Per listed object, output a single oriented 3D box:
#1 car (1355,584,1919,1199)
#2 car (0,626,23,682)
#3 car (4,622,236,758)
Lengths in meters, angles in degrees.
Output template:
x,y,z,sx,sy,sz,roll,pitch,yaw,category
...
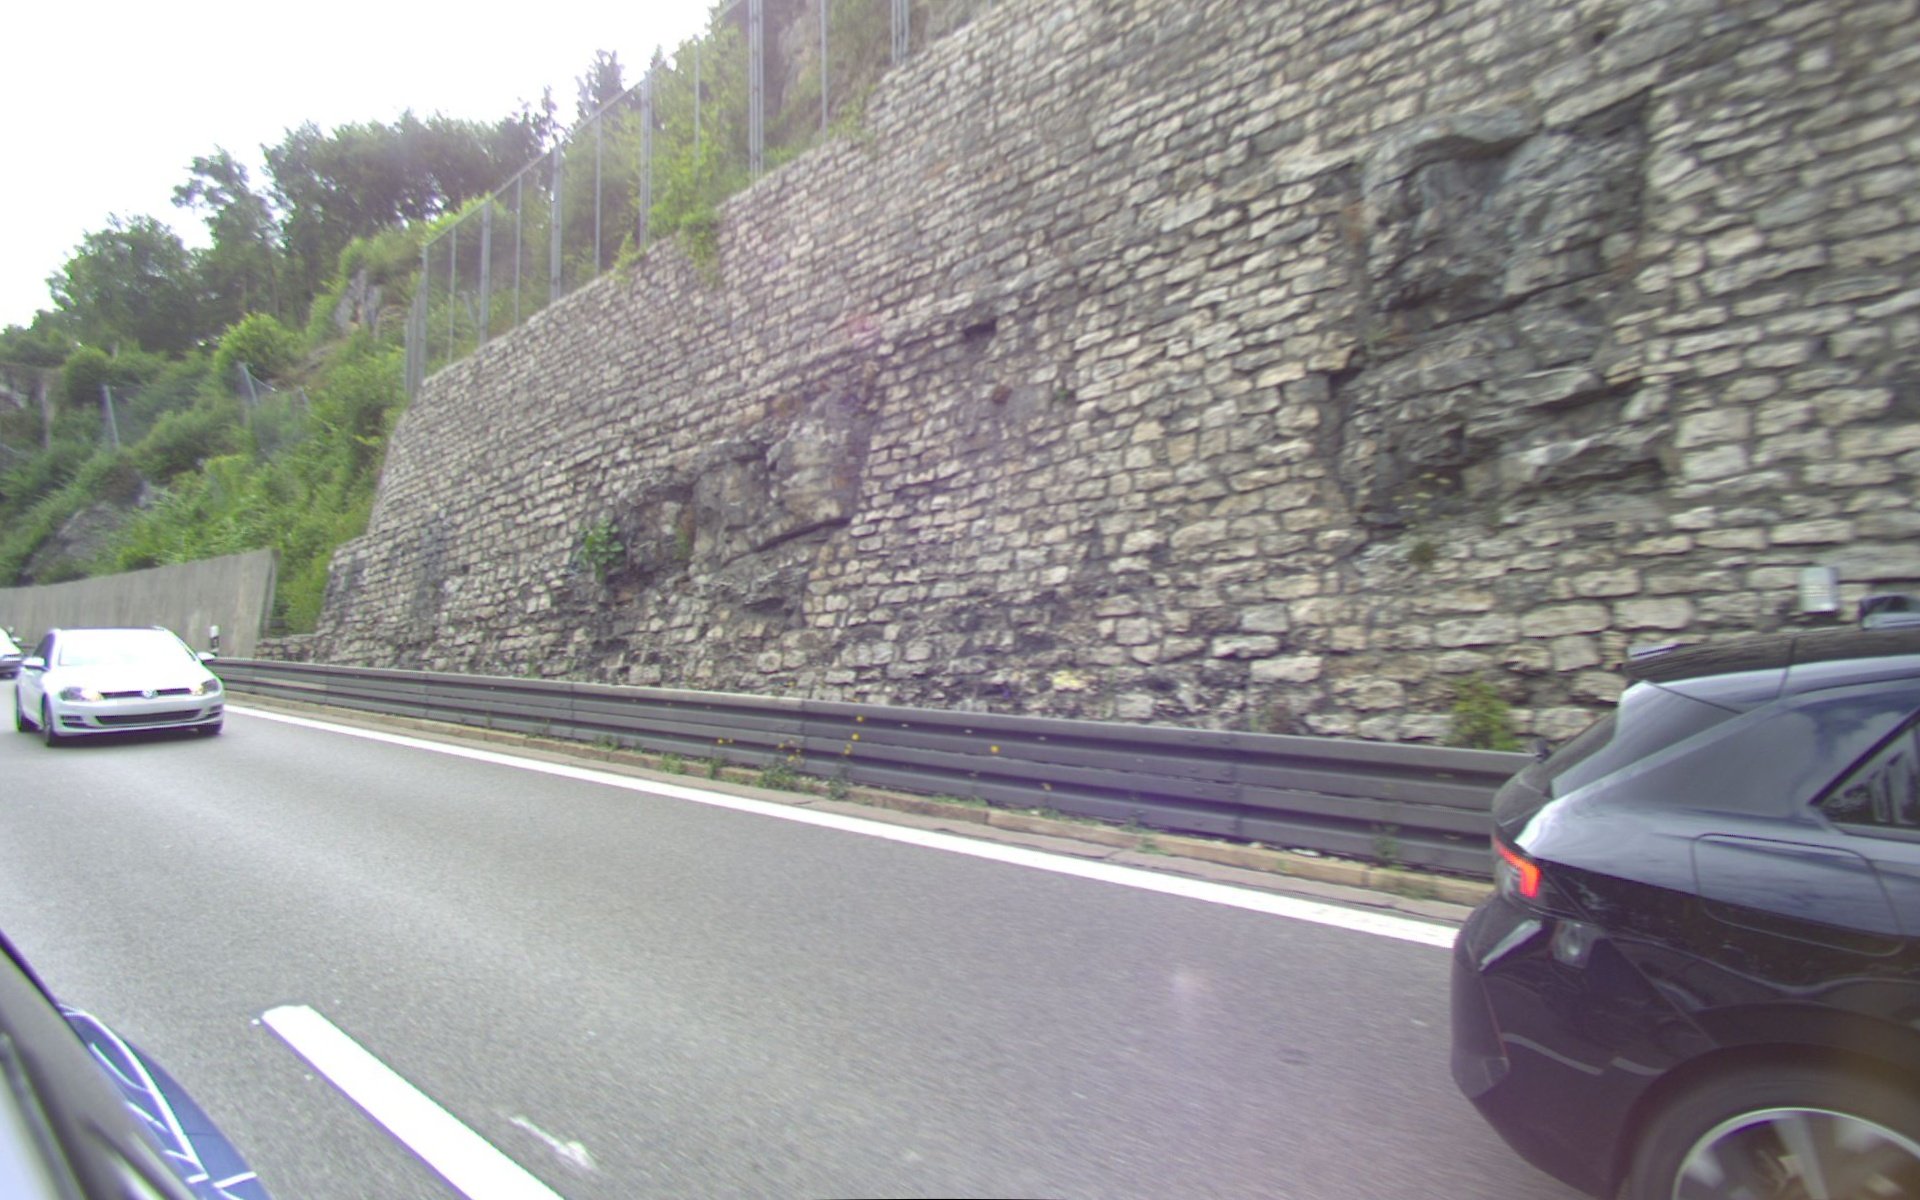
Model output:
x,y,z,sx,sy,sz,roll,pitch,yaw,category
3.158,0.683,1.349,4.580,1.472,1.755,-1,-1,42,car
-27.672,1.519,28.162,5.132,1.468,1.809,-2,-1,41,car
-11.472,1.069,13.694,4.627,1.493,1.825,-1,-1,43,car
